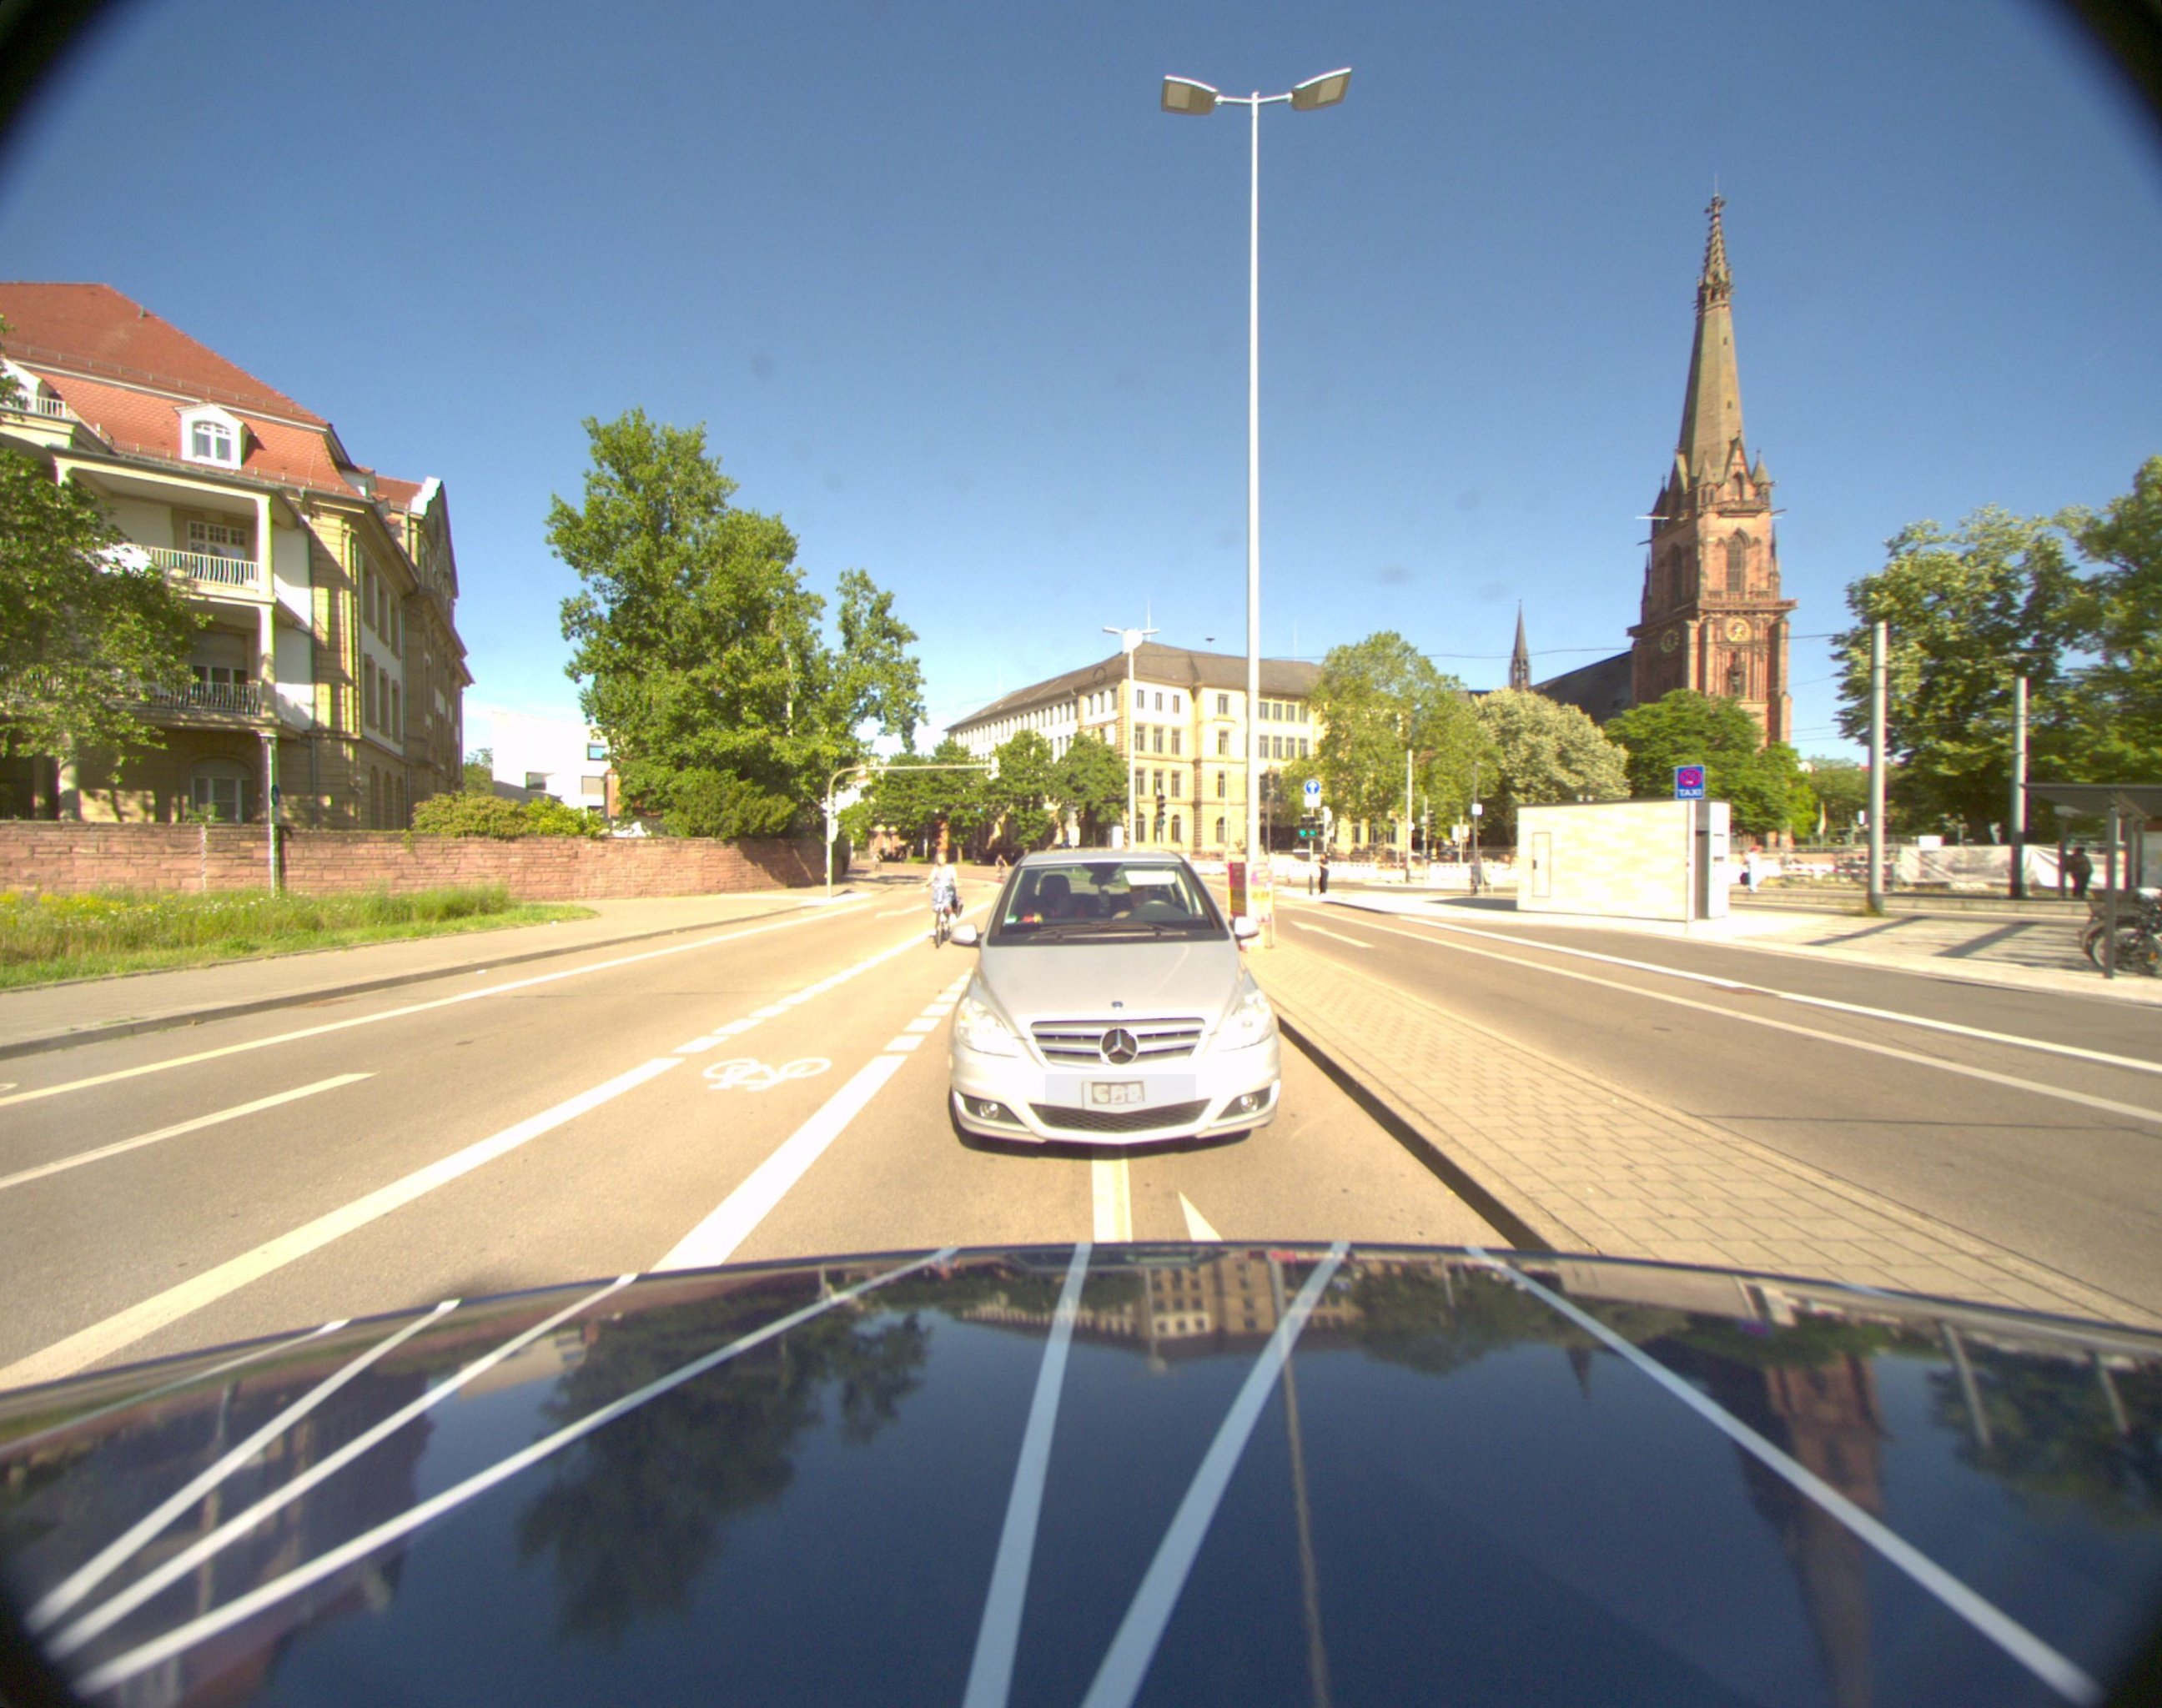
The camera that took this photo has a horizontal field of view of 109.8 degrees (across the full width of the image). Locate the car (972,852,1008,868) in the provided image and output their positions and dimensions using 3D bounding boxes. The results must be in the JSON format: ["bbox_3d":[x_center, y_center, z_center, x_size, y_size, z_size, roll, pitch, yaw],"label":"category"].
[{"bbox_3d":[-10.813,0.725,90.487,1.994,1.805,3.809,1,1,44],"label":"car"}]

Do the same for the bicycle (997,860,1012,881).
[{"bbox_3d":[-4.521,0.975,45.139,0.642,1.158,1.870,-1,0,1],"label":"bicycle"}]

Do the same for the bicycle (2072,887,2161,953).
[{"bbox_3d":[18.171,1.131,12.791,0.569,1.032,1.783,1,1,-37],"label":"bicycle"}]

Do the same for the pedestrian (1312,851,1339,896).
[{"bbox_3d":[9.282,0.743,28.874,0.789,1.671,0.648,-2,1,2],"label":"pedestrian"}]

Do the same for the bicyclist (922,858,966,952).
[{"bbox_3d":[-2.495,0.913,13.897,0.643,1.653,0.776,-1,2,0],"label":"bicyclist"}]

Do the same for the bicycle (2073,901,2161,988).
[{"bbox_3d":[14.023,1.181,9.593,0.569,1.032,1.783,1,1,-37],"label":"bicycle"}]

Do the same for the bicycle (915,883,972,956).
[{"bbox_3d":[-2.492,1.152,13.955,0.642,1.158,1.968,-1,1,1],"label":"bicycle"}]

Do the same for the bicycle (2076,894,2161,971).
[{"bbox_3d":[15.705,1.154,10.855,0.569,1.032,1.783,1,1,-37],"label":"bicycle"}]

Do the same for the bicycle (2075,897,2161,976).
[{"bbox_3d":[15.151,1.166,10.442,0.569,1.032,1.783,1,1,-37],"label":"bicycle"}]

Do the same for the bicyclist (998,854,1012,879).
[{"bbox_3d":[-4.519,0.750,45.188,0.643,1.436,0.953,-1,0,1],"label":"bicyclist"}]

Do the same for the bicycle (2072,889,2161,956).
[{"bbox_3d":[17.698,1.143,12.426,0.569,1.032,1.783,1,1,-37],"label":"bicycle"}]

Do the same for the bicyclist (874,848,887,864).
[{"bbox_3d":[-18.690,0.183,70.851,0.919,1.543,0.779,-1,1,3],"label":"bicyclist"}]

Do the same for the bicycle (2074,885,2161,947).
[{"bbox_3d":[19.140,1.108,13.498,0.569,1.032,1.783,1,1,-37],"label":"bicycle"}]

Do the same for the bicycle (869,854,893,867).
[{"bbox_3d":[-18.661,0.645,70.865,1.966,1.158,0.779,-1,1,3],"label":"bicycle"}]

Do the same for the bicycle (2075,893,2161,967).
[{"bbox_3d":[16.202,1.153,11.248,0.569,1.032,1.783,1,1,-37],"label":"bicycle"}]

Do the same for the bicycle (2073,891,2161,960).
[{"bbox_3d":[17.173,1.153,12.014,0.569,1.032,1.783,1,1,-37],"label":"bicycle"}]

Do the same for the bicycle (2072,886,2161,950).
[{"bbox_3d":[18.655,1.120,13.153,0.569,1.032,1.783,1,1,-37],"label":"bicycle"}]

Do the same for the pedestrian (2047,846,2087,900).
[{"bbox_3d":[30.610,0.585,23.587,0.567,1.645,0.518,-2,1,1],"label":"pedestrian"}]

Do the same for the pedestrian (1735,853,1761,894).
[{"bbox_3d":[28.216,0.841,32.145,0.540,1.712,0.680,3,-4,-34],"label":"pedestrian"}]

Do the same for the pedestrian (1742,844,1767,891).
[{"bbox_3d":[25.173,0.509,28.391,0.537,1.712,0.684,-1,-4,31],"label":"pedestrian"}]

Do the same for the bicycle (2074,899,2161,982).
[{"bbox_3d":[14.548,1.172,9.984,0.569,1.032,1.783,1,1,-37],"label":"bicycle"}]

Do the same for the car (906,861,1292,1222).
[{"bbox_3d":[0.134,0.897,5.844,1.770,1.584,4.638,-1,1,1],"label":"car"}]
